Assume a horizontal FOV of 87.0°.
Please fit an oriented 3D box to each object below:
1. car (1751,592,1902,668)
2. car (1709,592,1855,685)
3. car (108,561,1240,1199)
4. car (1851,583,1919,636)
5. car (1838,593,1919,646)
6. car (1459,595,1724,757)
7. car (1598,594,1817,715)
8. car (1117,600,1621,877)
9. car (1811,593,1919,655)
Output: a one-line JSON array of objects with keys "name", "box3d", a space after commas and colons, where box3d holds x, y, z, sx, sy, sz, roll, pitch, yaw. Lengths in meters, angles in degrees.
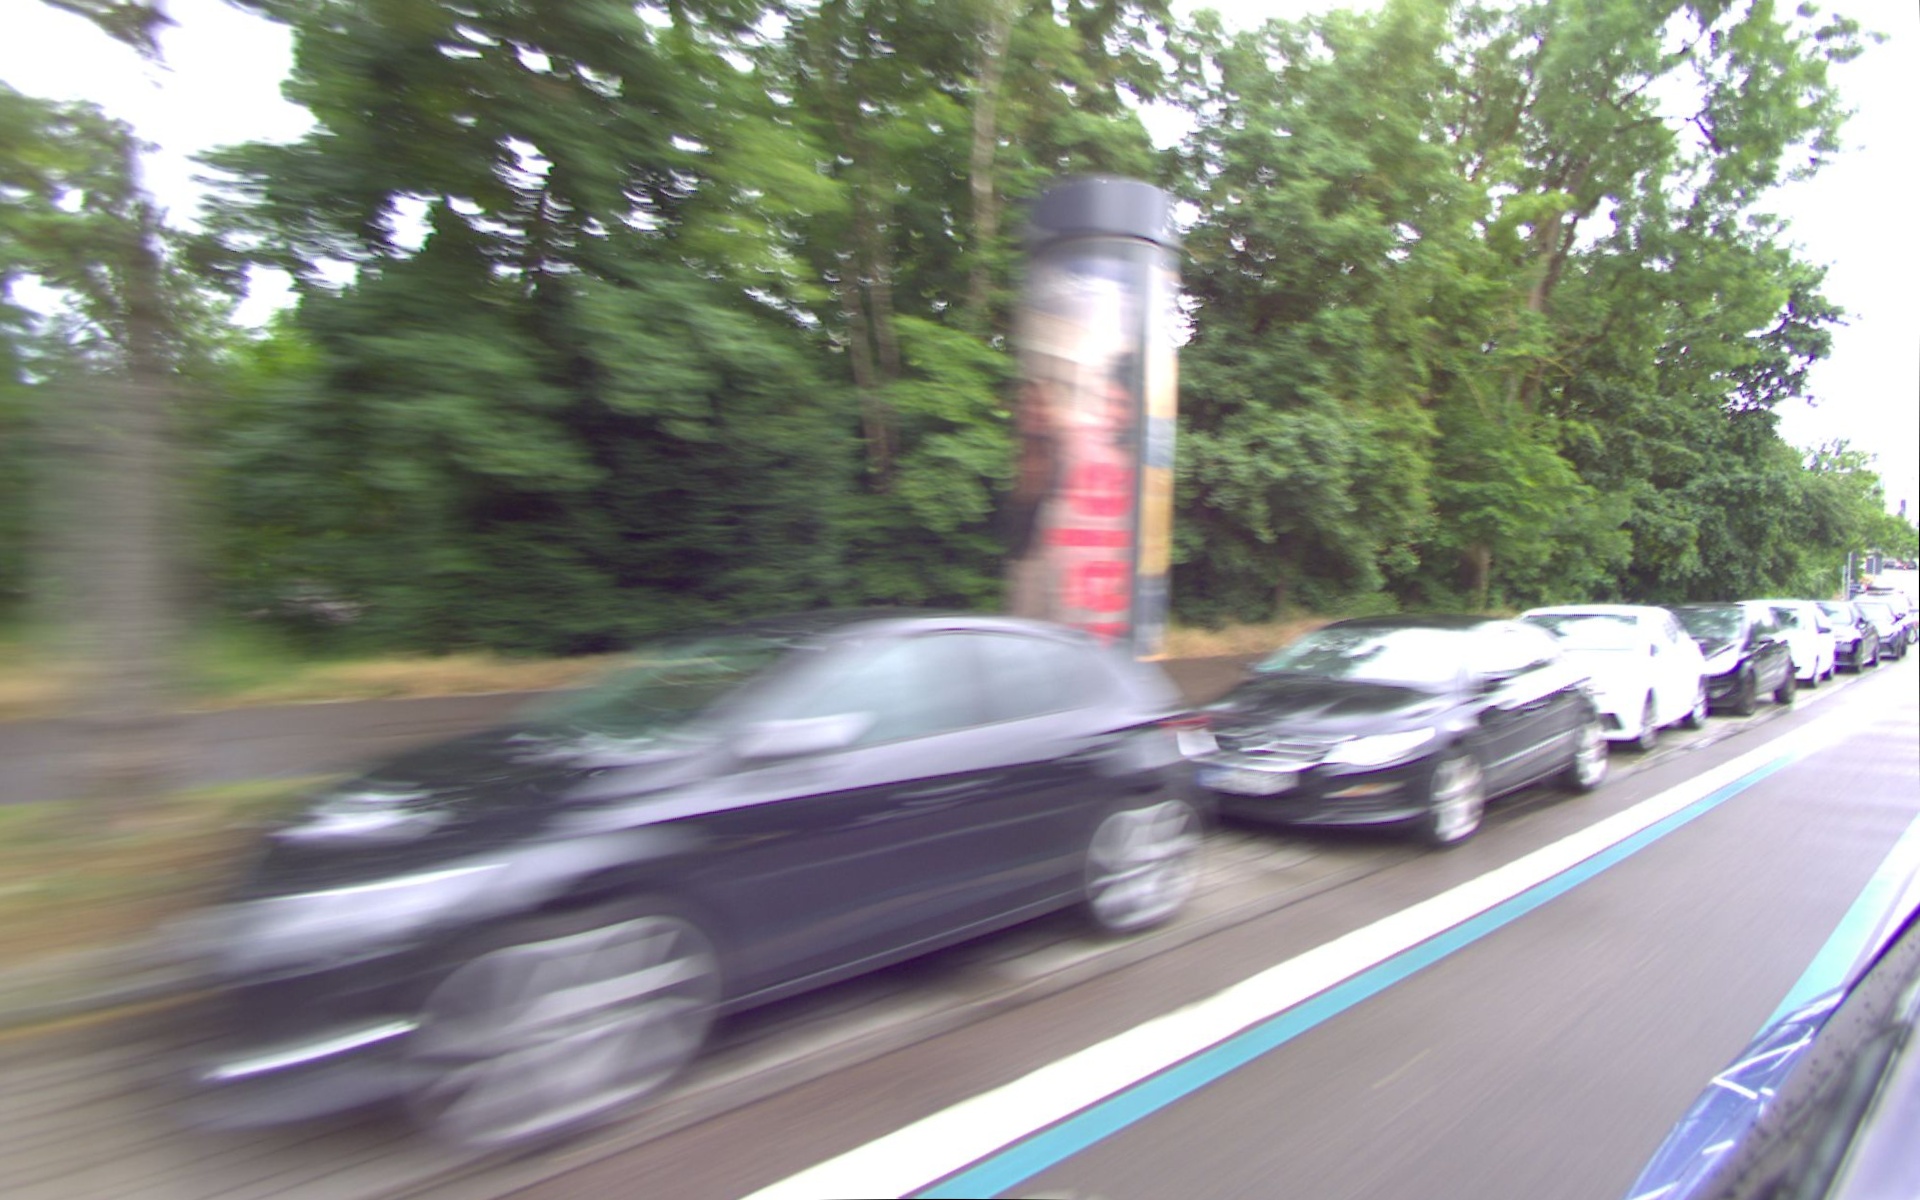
[{"name": "car", "box3d": [18.747, 0.565, 21.816, 4.669, 1.473, 1.859, 0, 0, -42]}, {"name": "car", "box3d": [14.792, 0.612, 18.149, 3.614, 1.479, 1.561, 0, 0, -43]}, {"name": "car", "box3d": [-0.776, 0.677, 4.174, 4.129, 1.504, 1.824, 0, -1, -43]}, {"name": "car", "box3d": [30.426, 0.284, 32.934, 4.182, 1.635, 1.823, -1, -1, -45]}, {"name": "car", "box3d": [26.874, 0.536, 29.466, 3.643, 1.431, 1.697, -1, 0, -45]}, {"name": "car", "box3d": [7.160, 0.697, 11.309, 3.934, 1.485, 1.619, -1, 0, -44]}, {"name": "car", "box3d": [10.656, 0.678, 14.339, 3.831, 1.484, 1.661, 0, -1, -41]}, {"name": "car", "box3d": [3.212, 0.732, 7.424, 4.371, 1.411, 1.753, -1, -1, -43]}, {"name": "car", "box3d": [23.095, 0.558, 25.720, 4.314, 1.417, 1.854, -1, 0, -45]}]
